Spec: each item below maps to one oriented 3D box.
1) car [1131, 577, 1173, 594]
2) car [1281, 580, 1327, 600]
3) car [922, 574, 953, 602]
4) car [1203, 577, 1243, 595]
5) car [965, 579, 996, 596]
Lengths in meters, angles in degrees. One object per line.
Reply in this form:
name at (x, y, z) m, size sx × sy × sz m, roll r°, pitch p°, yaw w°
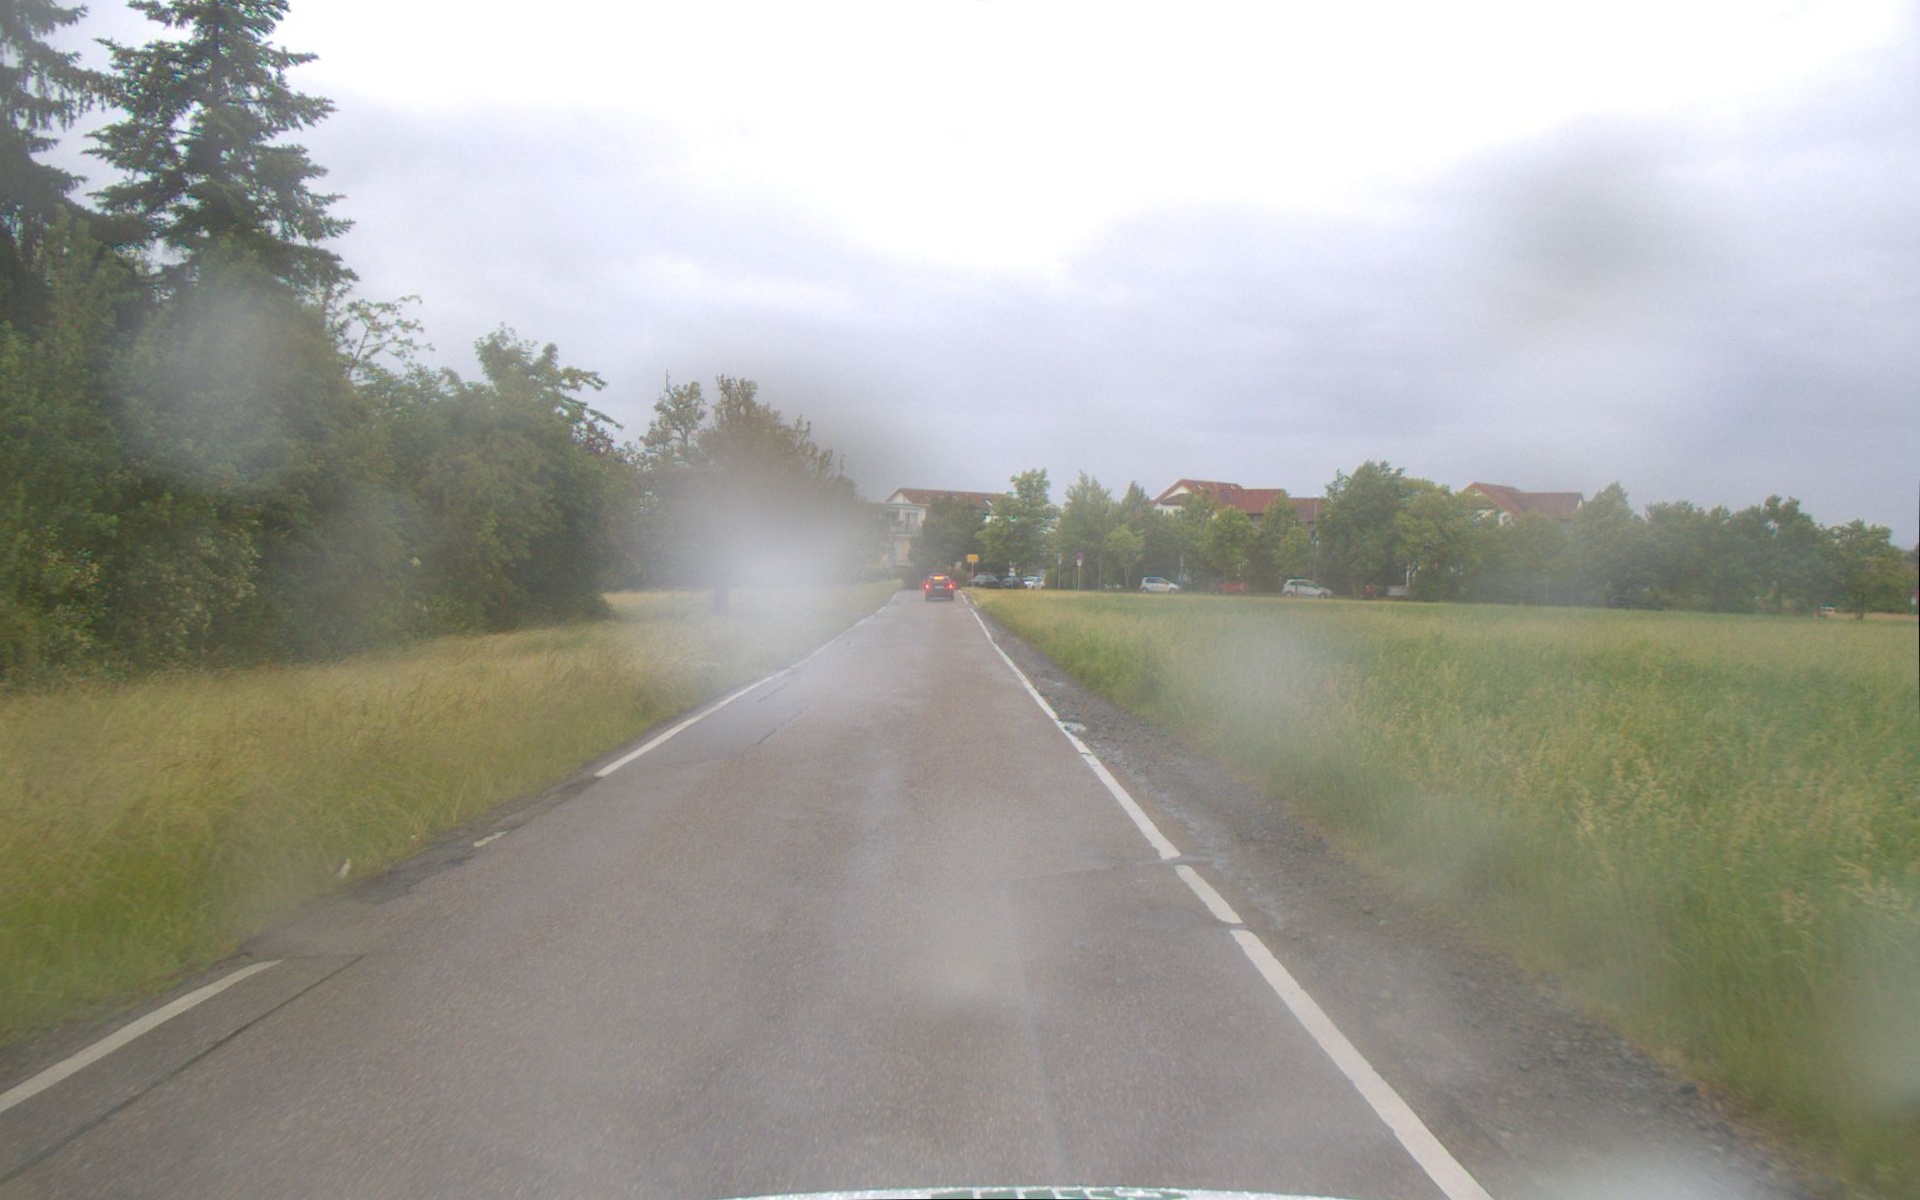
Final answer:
car at (16.007, -1.186, 137.535) m, size 3.317 × 1.395 × 1.549 m, roll 0°, pitch -1°, yaw 13°
car at (27.992, -0.828, 134.506) m, size 3.630 × 1.591 × 1.611 m, roll 0°, pitch -1°, yaw 13°
car at (-1.345, -0.696, 99.115) m, size 1.777 × 1.622 × 4.000 m, roll 1°, pitch -1°, yaw 0°
car at (21.645, -1.152, 136.098) m, size 3.124 × 1.395 × 1.573 m, roll 0°, pitch -1°, yaw 13°
car at (2.055, -1.222, 166.224) m, size 1.627 × 1.573 × 3.998 m, roll 0°, pitch -1°, yaw 24°
